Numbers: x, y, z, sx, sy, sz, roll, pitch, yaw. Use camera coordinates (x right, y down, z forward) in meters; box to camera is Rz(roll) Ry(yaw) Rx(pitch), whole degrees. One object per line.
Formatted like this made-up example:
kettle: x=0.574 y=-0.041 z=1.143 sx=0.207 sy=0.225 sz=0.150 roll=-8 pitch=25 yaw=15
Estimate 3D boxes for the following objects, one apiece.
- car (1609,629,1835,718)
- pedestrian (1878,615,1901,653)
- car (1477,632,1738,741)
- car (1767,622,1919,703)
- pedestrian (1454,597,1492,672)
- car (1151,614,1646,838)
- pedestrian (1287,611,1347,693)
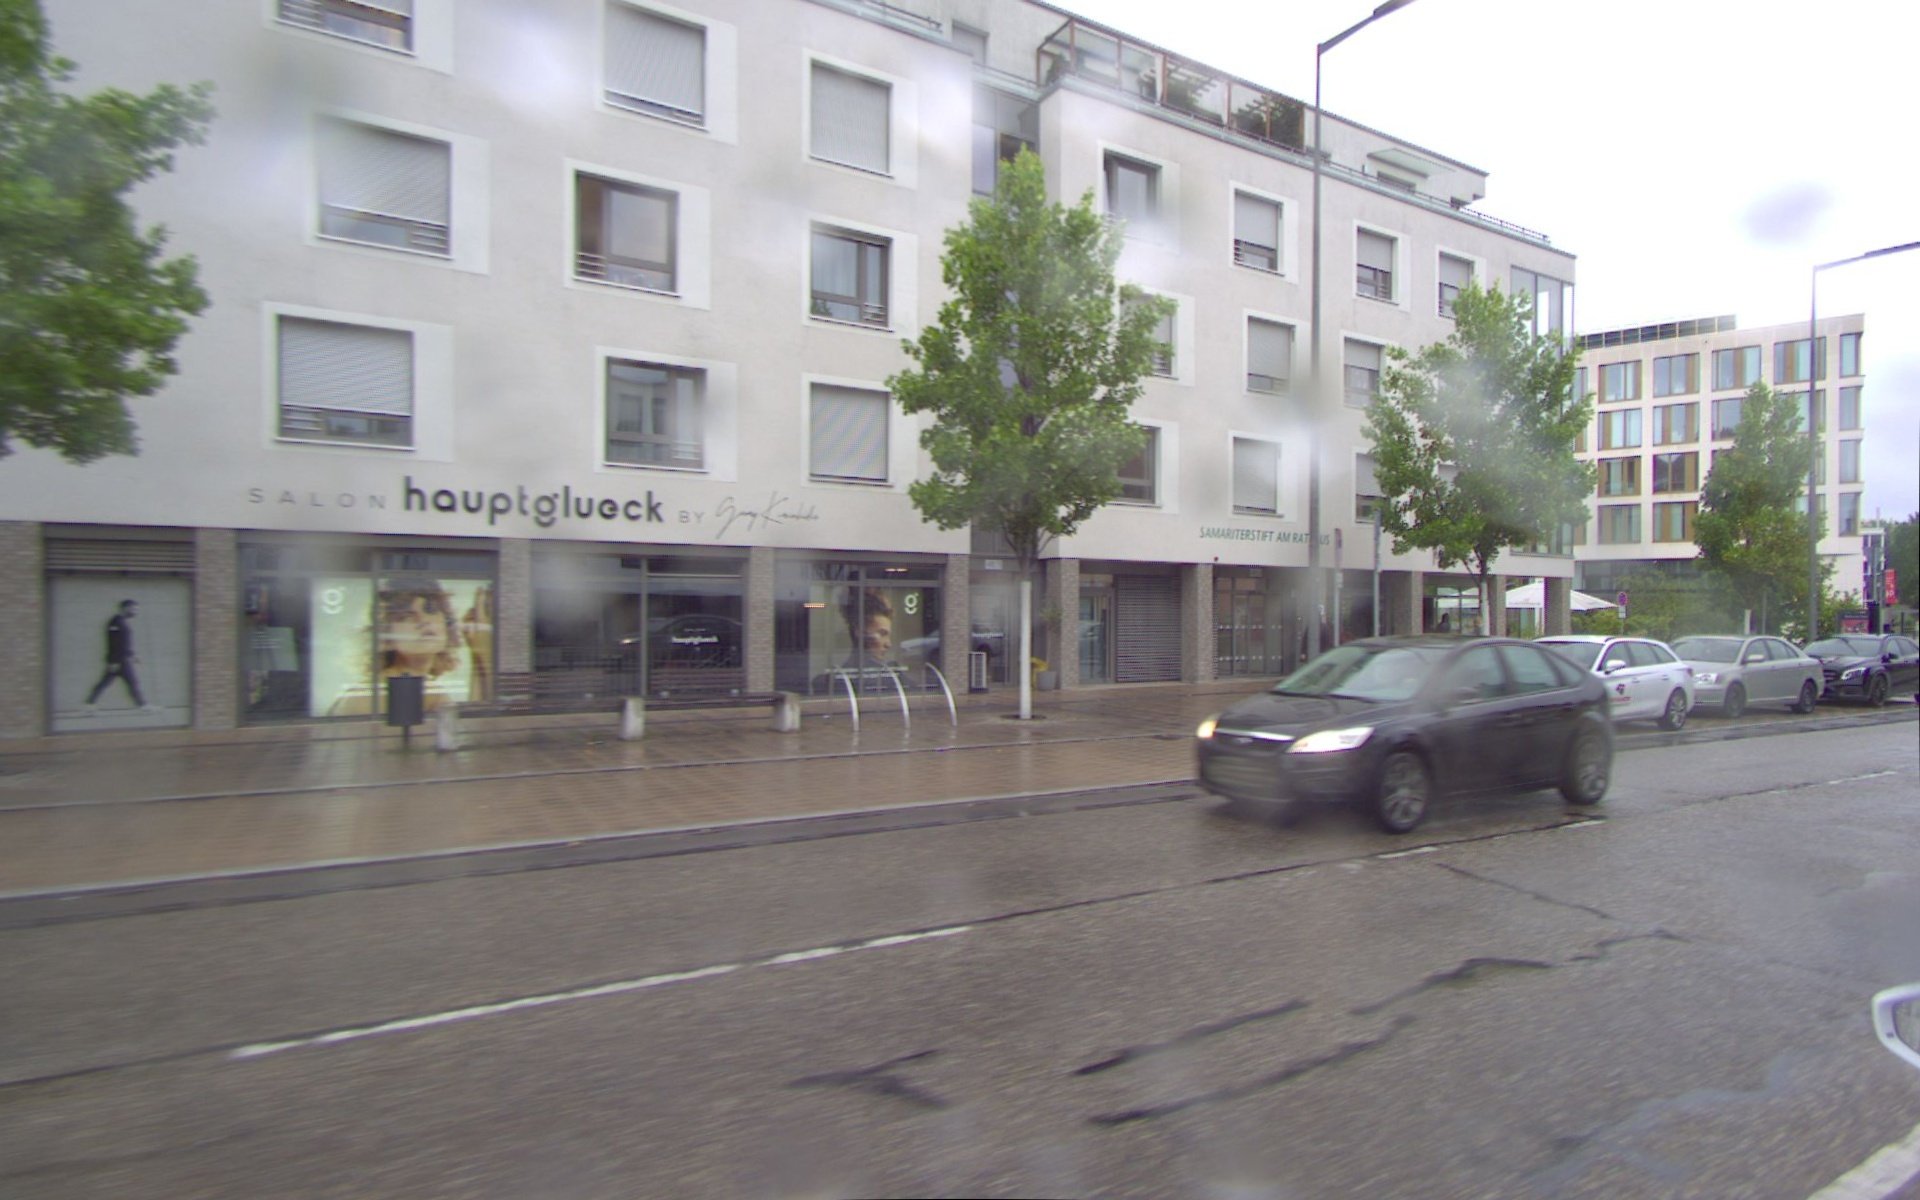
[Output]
car: x=14.471 y=1.371 z=19.028 sx=4.520 sy=1.529 sz=1.685 roll=3 pitch=-2 yaw=-28
pedestrian: x=43.560 y=1.602 z=47.081 sx=0.669 sy=1.768 sz=0.775 roll=3 pitch=-3 yaw=-44
car: x=10.341 y=1.329 z=15.952 sx=4.429 sy=1.482 sz=1.785 roll=3 pitch=-2 yaw=-32
car: x=19.332 y=1.283 z=21.646 sx=4.418 sy=1.603 sz=1.580 roll=1 pitch=-2 yaw=-31
pedestrian: x=15.280 y=1.019 z=29.914 sx=0.755 sy=2.173 sz=0.750 roll=2 pitch=-1 yaw=8
car: x=3.889 y=0.976 z=8.791 sx=4.133 sy=1.543 sz=1.872 roll=3 pitch=-2 yaw=-29
pedestrian: x=7.905 y=1.152 z=22.240 sx=0.992 sy=1.761 sz=0.805 roll=3 pitch=-2 yaw=-31
